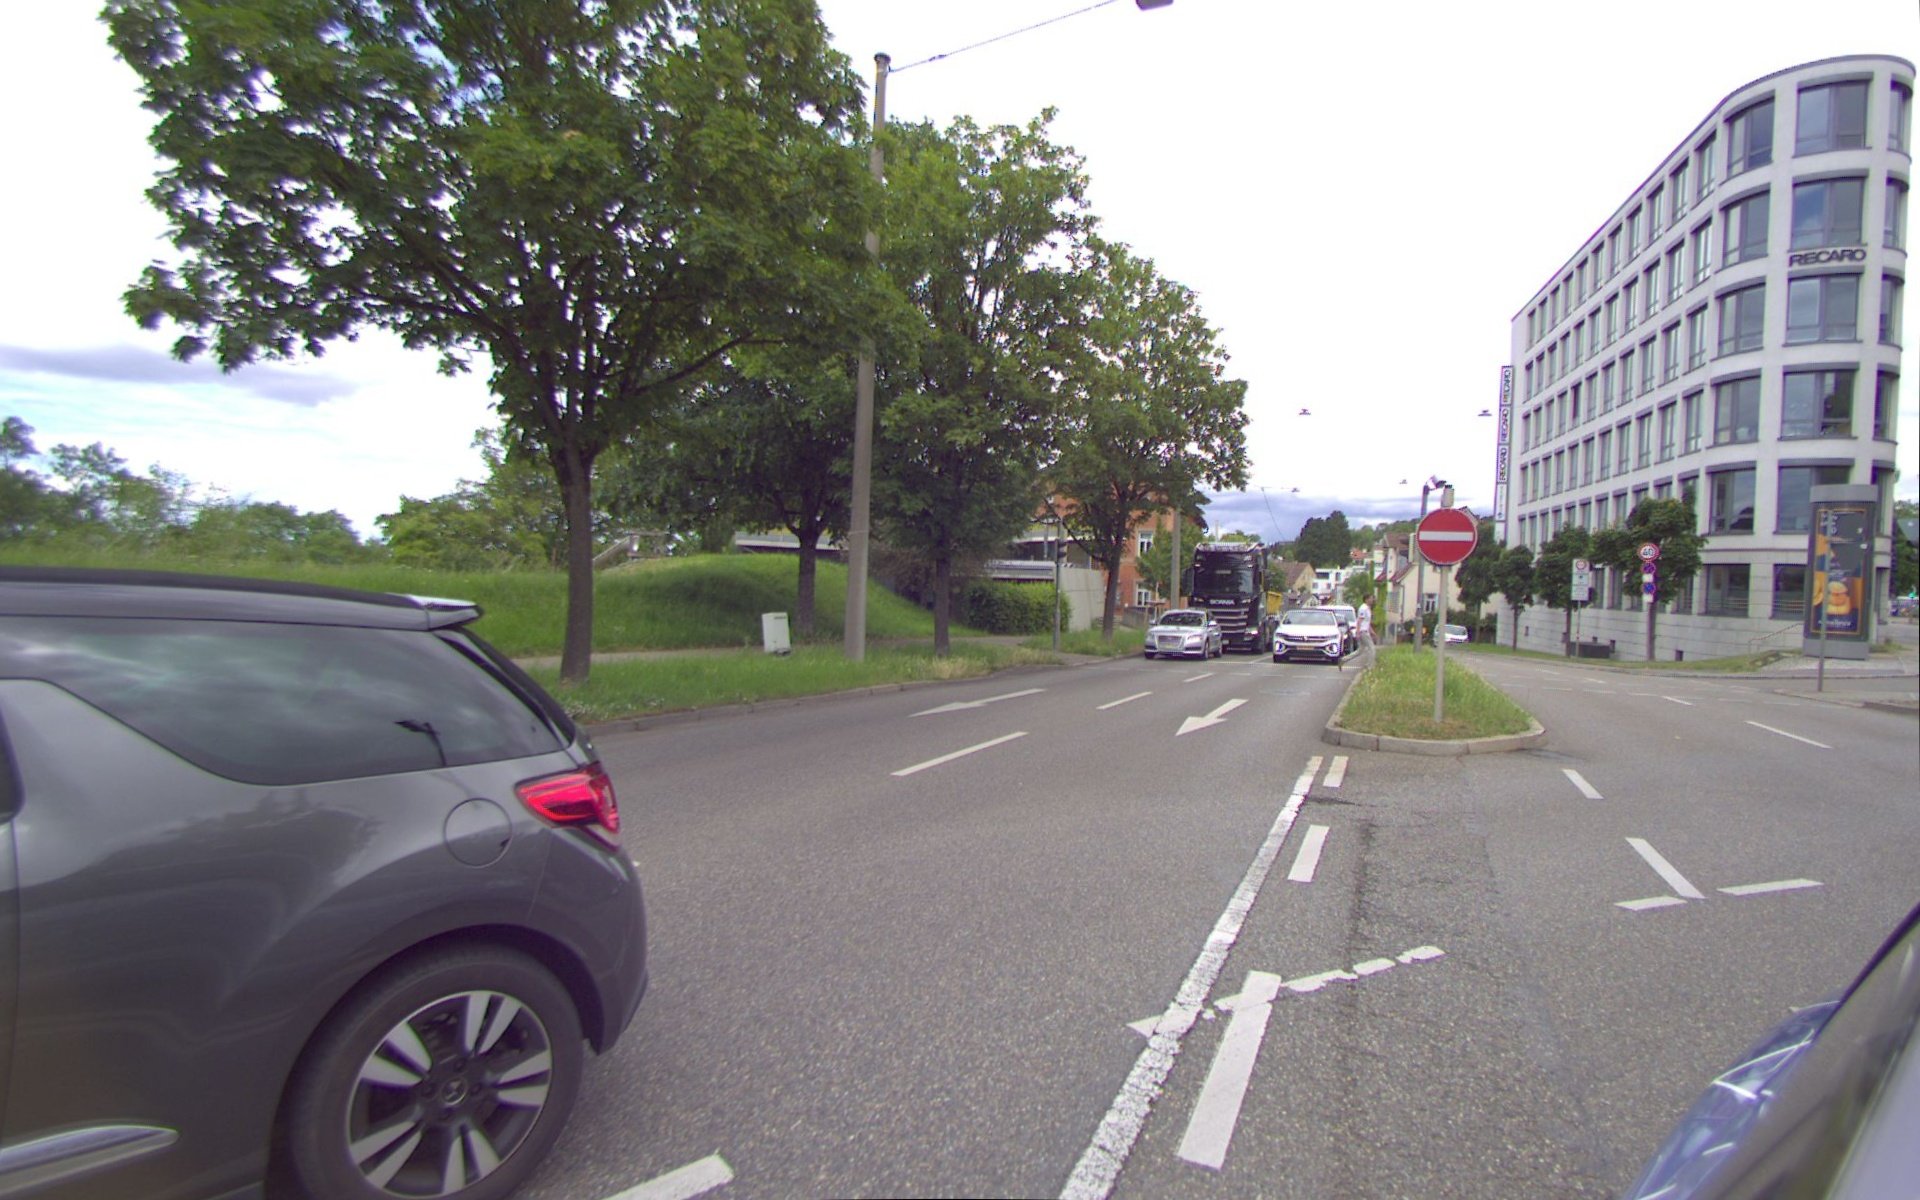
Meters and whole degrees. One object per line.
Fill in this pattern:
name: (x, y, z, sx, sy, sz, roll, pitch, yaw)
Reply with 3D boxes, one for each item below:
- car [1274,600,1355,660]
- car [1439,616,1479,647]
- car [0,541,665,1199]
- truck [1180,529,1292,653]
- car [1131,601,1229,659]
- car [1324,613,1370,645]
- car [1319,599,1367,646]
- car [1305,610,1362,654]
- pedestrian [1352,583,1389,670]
car: (10.134, 0.808, 28.729, 1.836, 1.549, 4.451, 1, 0, 24)
car: (37.227, 2.304, 75.653, 2.150, 2.038, 3.976, 2, 2, 19)
car: (-2.791, 0.623, 1.842, 3.992, 1.479, 1.703, 0, 1, -42)
truck: (10.393, -0.331, 37.321, 2.796, 3.974, 9.386, 1, 1, 23)
car: (6.417, 0.797, 29.180, 1.968, 1.460, 4.125, 1, 1, 24)
car: (18.334, 1.334, 48.060, 1.732, 1.393, 4.263, 1, 0, 17)
car: (15.819, 0.904, 41.838, 1.734, 1.819, 4.257, 1, 0, 21)
car: (12.965, 1.061, 35.006, 1.635, 1.391, 3.946, 1, 0, 23)
pedestrian: (9.407, 0.599, 23.198, 0.748, 1.942, 0.583, 1, 0, 22)
